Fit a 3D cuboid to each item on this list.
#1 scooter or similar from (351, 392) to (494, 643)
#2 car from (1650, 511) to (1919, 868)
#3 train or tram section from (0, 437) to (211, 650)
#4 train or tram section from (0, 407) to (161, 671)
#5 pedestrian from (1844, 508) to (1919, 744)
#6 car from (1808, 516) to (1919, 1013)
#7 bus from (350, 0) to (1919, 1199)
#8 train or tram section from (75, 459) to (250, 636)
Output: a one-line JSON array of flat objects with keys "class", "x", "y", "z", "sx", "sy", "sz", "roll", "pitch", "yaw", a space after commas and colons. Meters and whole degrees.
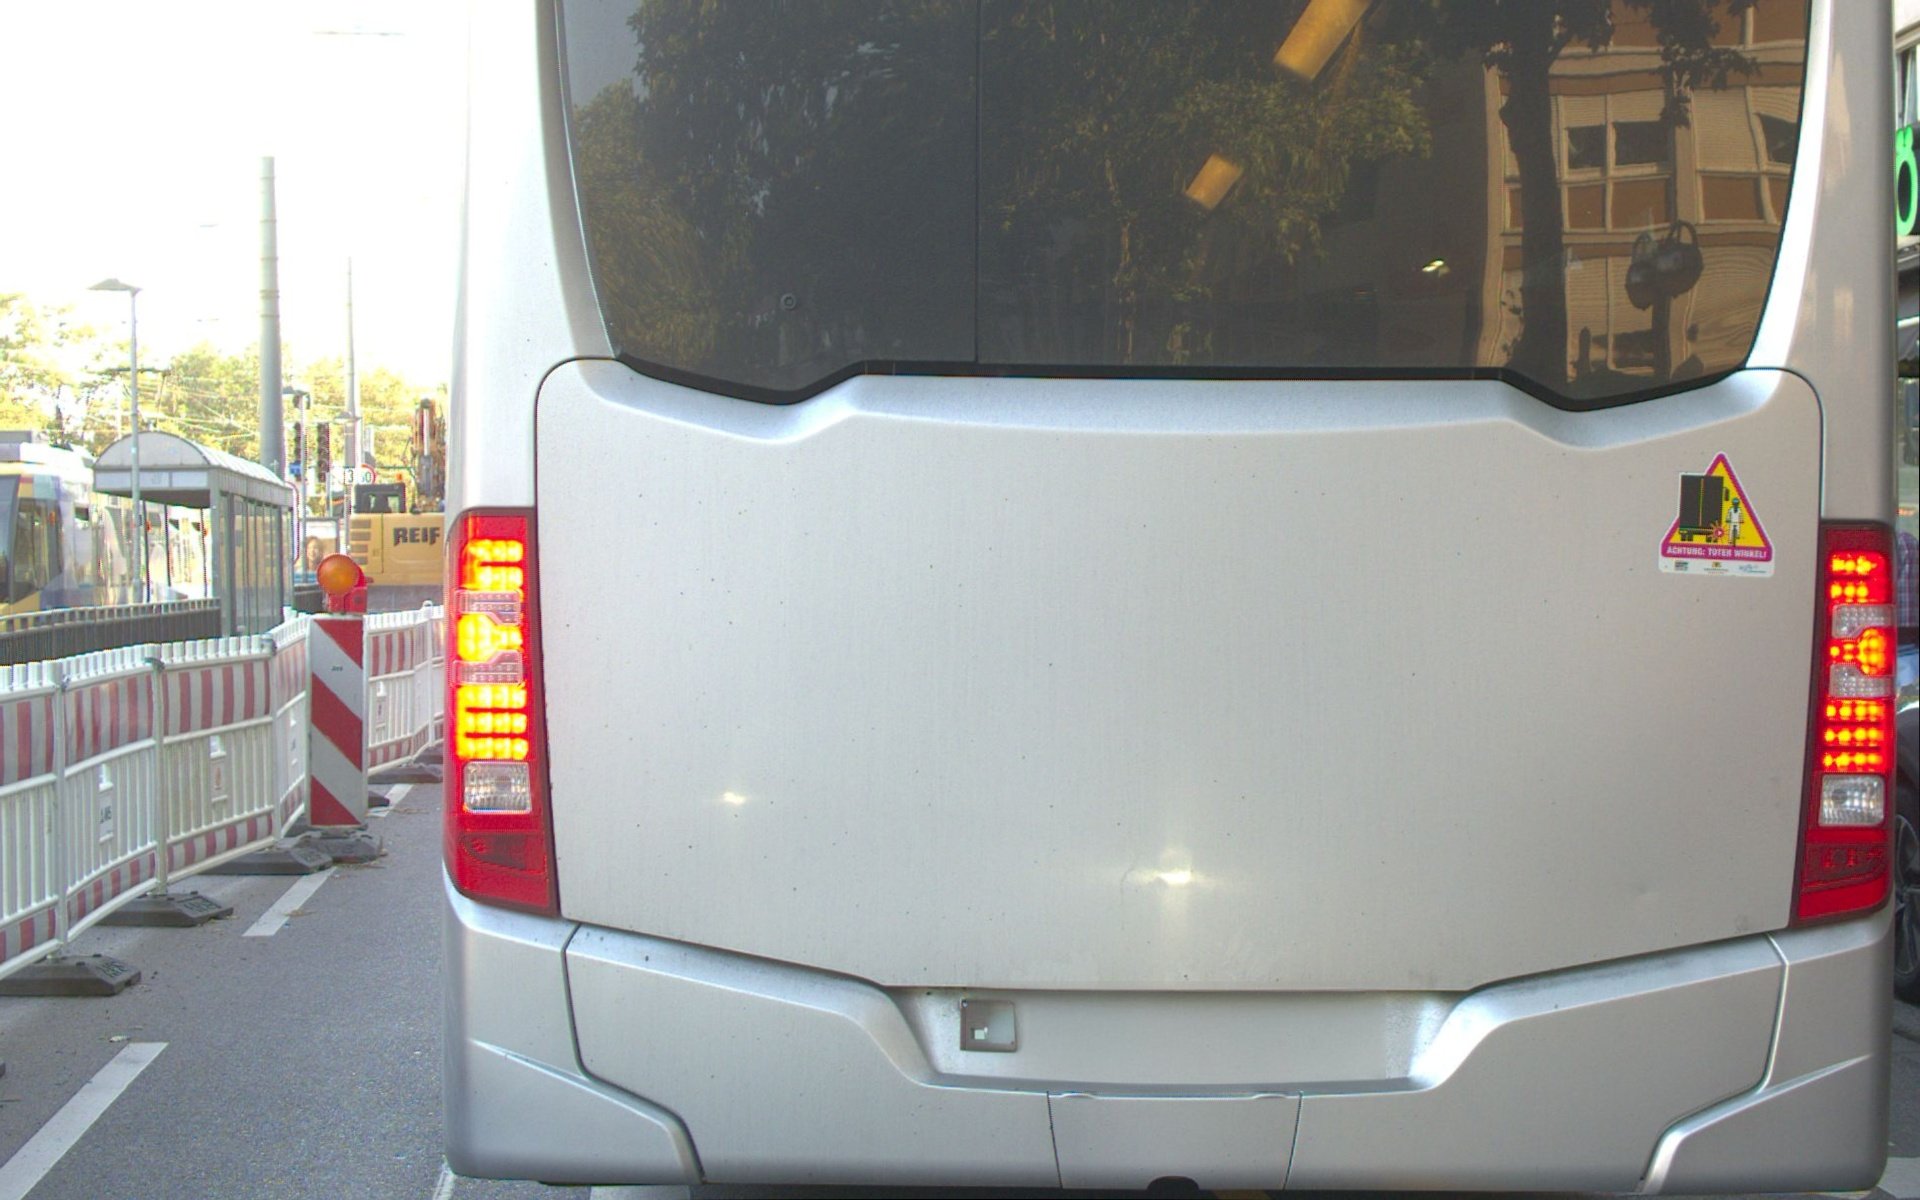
[{"class": "scooter or similar", "x": -10.010, "y": -1.511, "z": 64.428, "sx": 2.468, "sy": 4.455, "sz": 5.974, "roll": -1, "pitch": 1, "yaw": -8}, {"class": "car", "x": 5.162, "y": 0.349, "z": 17.558, "sx": 1.993, "sy": 1.576, "sz": 4.369, "roll": -3, "pitch": 1, "yaw": -5}, {"class": "train or tram section", "x": -15.655, "y": -1.005, "z": 63.380, "sx": 2.686, "sy": 3.546, "sz": 11.585, "roll": 1, "pitch": 1, "yaw": -8}, {"class": "train or tram section", "x": -14.199, "y": -0.890, "z": 51.805, "sx": 2.686, "sy": 3.521, "sz": 11.774, "roll": 1, "pitch": 1, "yaw": -6}, {"class": "pedestrian", "x": 6.735, "y": 0.182, "z": 24.716, "sx": 0.664, "sy": 1.661, "sz": 0.600, "roll": -2, "pitch": 0, "yaw": 16}, {"class": "car", "x": 4.147, "y": 0.511, "z": 9.782, "sx": 1.993, "sy": 1.576, "sz": 4.369, "roll": -3, "pitch": 1, "yaw": -5}, {"class": "bus", "x": 0.307, "y": -0.196, "z": 9.514, "sx": 2.611, "sy": 3.115, "sz": 7.993, "roll": 1, "pitch": 1, "yaw": -1}, {"class": "train or tram section", "x": -17.195, "y": -1.116, "z": 74.776, "sx": 2.686, "sy": 3.521, "sz": 11.585, "roll": 1, "pitch": 1, "yaw": -8}]
